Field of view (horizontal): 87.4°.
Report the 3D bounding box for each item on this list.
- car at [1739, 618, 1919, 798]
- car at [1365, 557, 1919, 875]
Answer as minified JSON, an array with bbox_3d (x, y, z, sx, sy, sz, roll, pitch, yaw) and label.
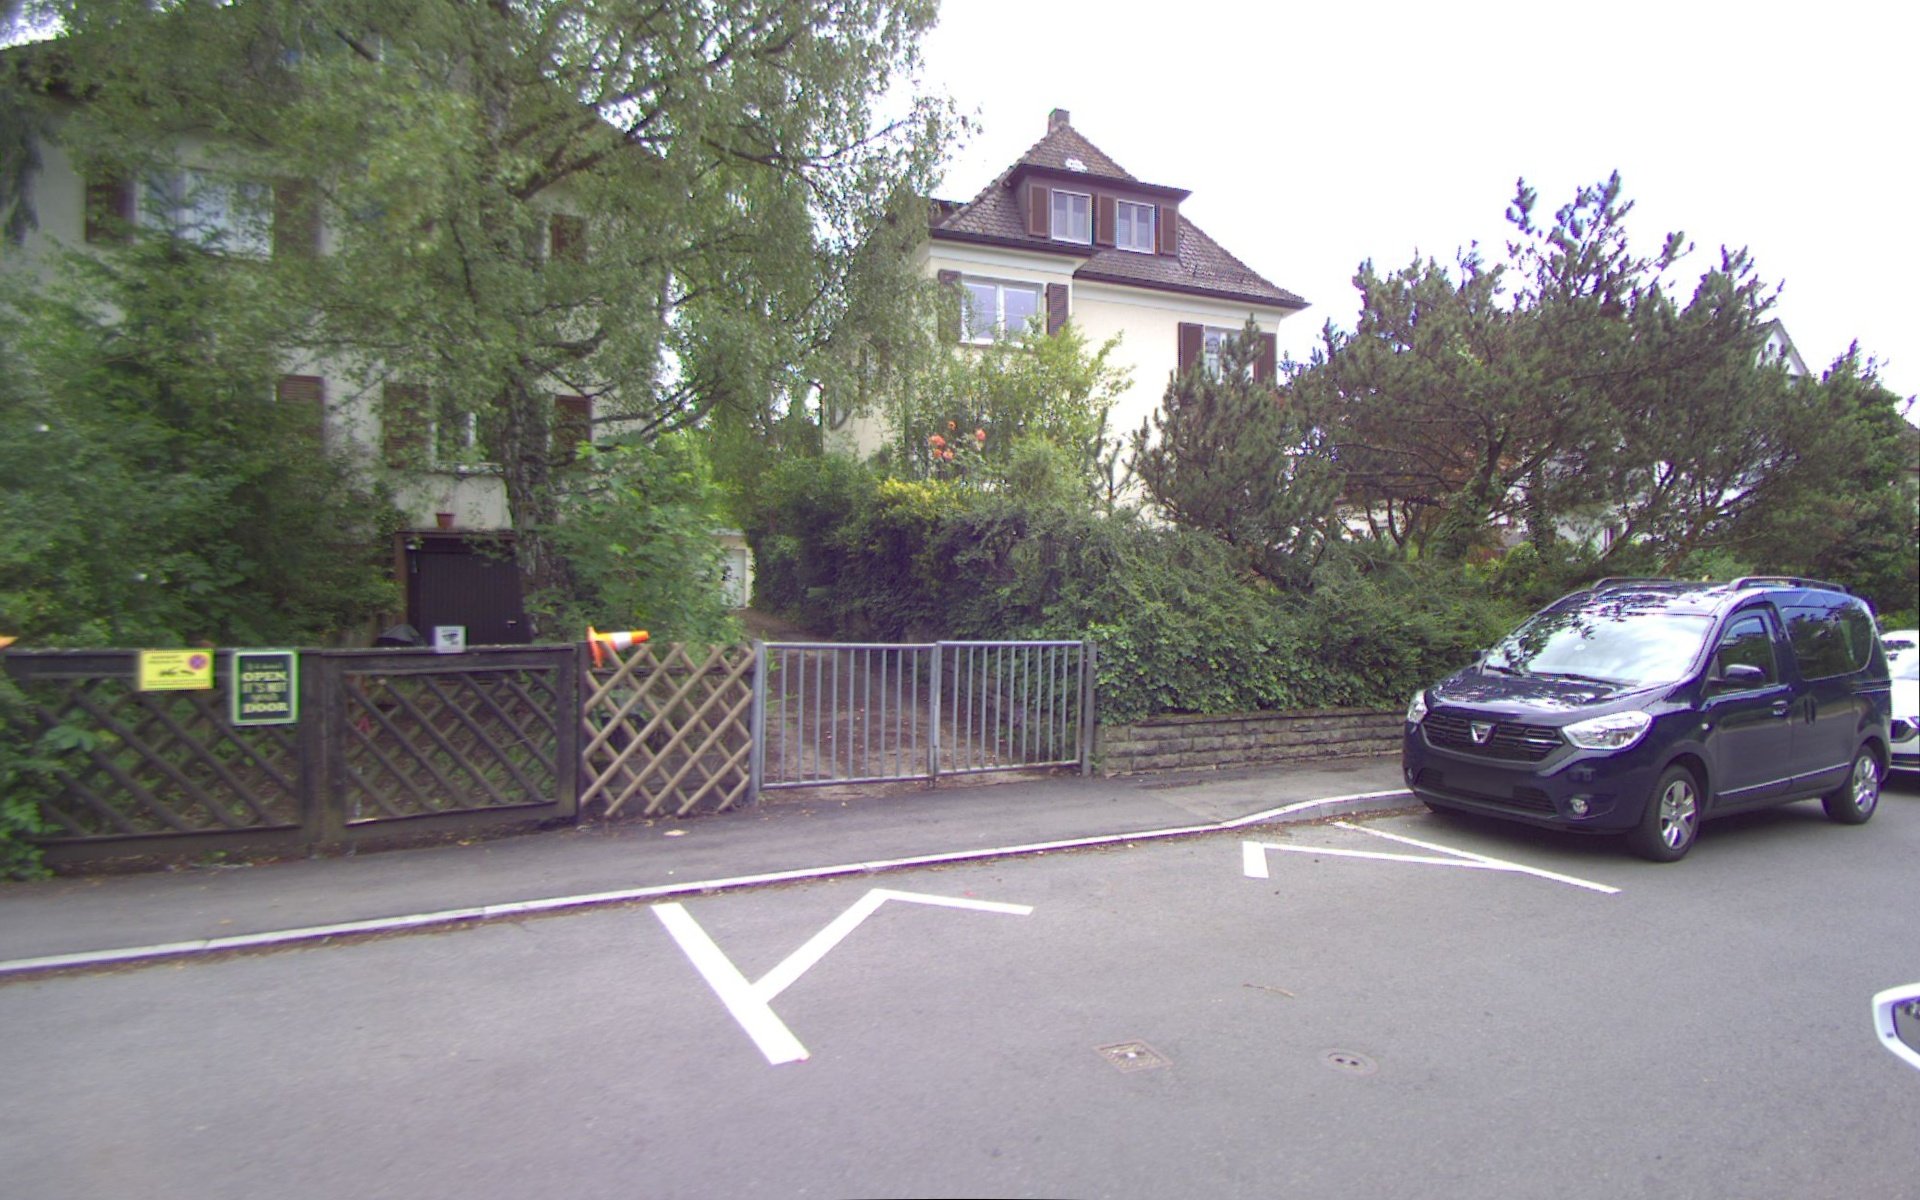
[{"bbox_3d":[10.119,1.004,10.228,4.496,1.531,1.700,1,0,-27],"label":"car"},{"bbox_3d":[5.213,0.708,7.526,4.244,1.823,1.700,1,0,-28],"label":"car"}]
